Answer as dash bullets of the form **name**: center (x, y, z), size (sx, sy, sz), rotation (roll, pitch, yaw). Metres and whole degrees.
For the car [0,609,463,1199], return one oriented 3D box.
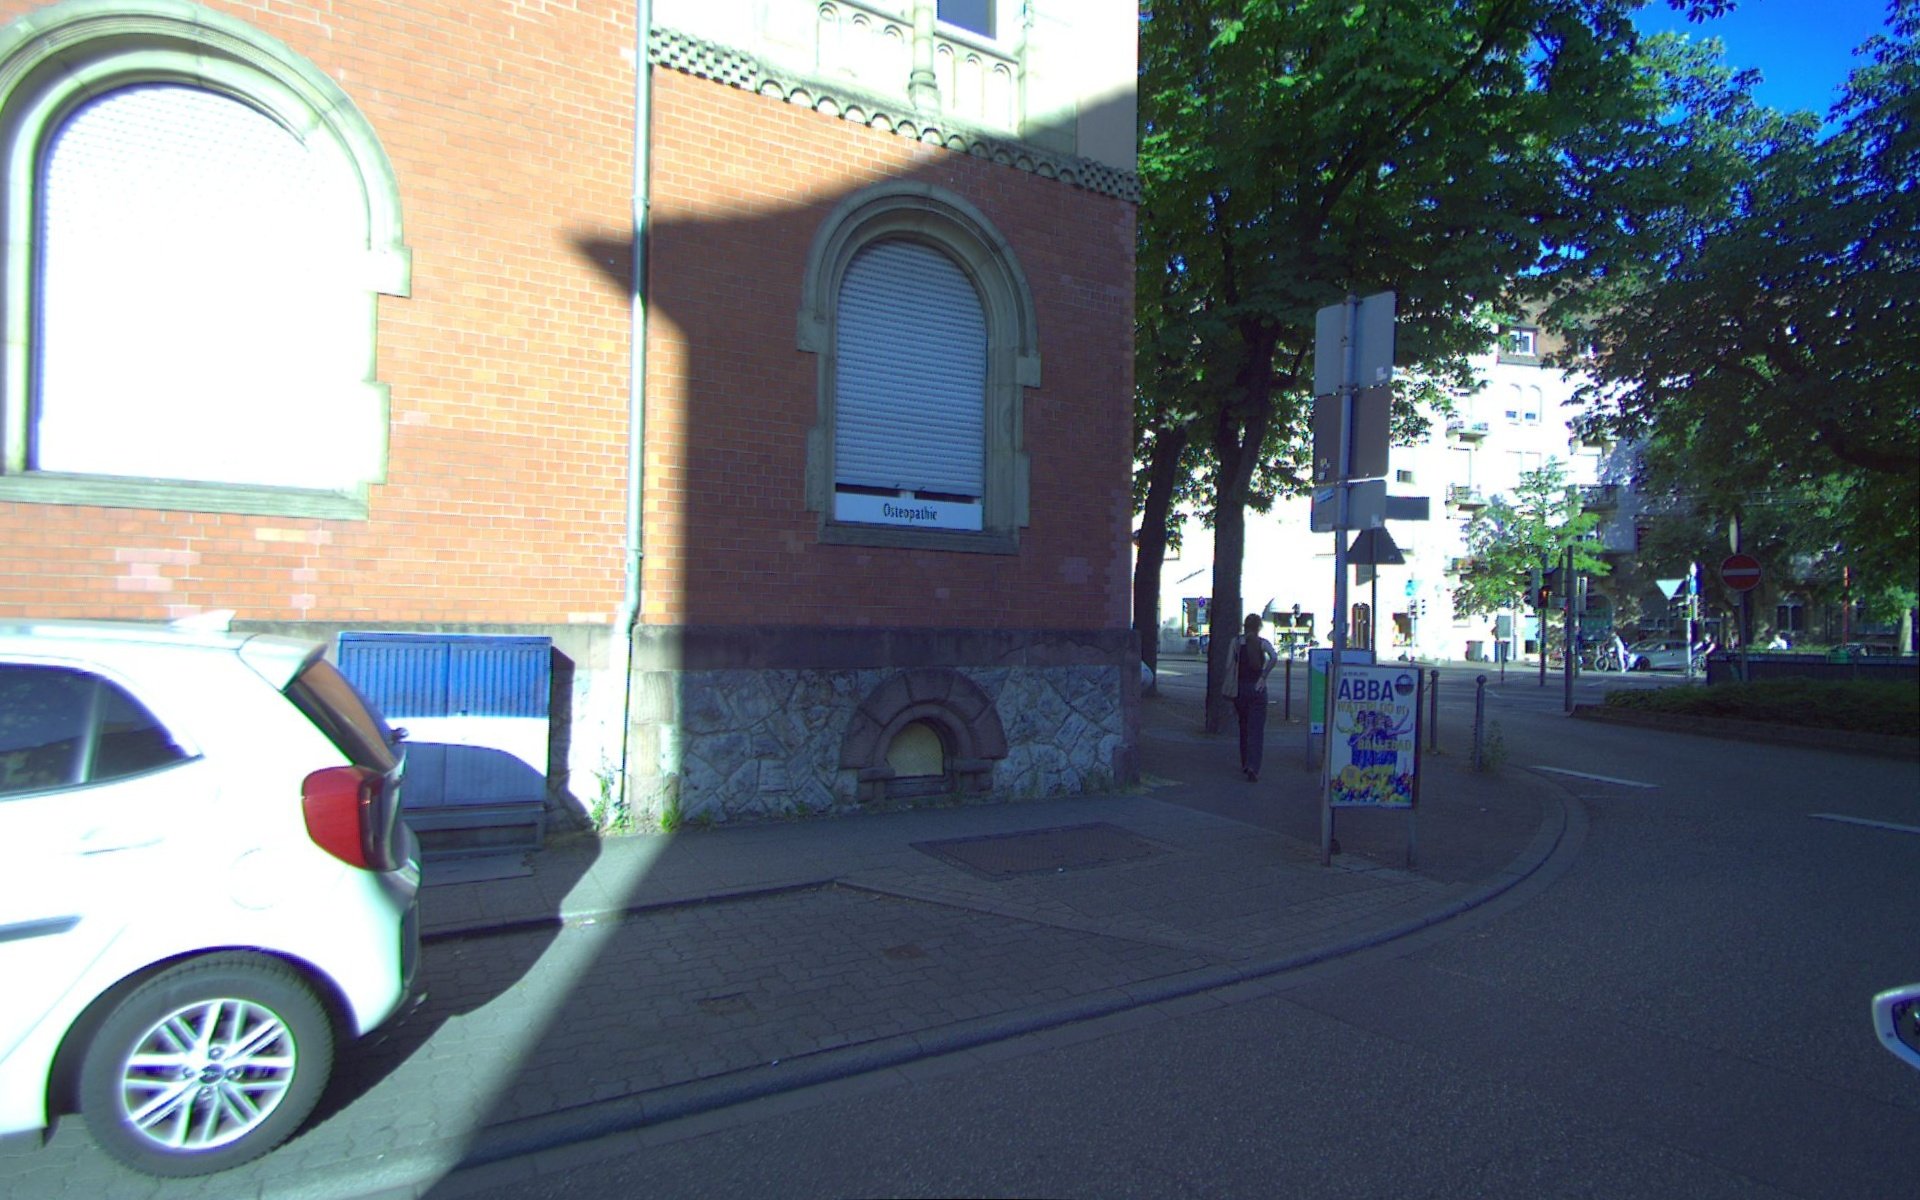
- **car**: center (-3.511, 0.790, 2.757), size (3.752, 1.505, 1.697), rotation (1, 0, -30)

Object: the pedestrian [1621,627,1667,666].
- **pedestrian**: center (34.591, 2.355, 50.803), size (1.464, 1.937, 1.261), rotation (0, -2, 2)

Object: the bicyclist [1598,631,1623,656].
- **bicyclist**: center (27.844, 1.859, 42.969), size (0.664, 1.068, 0.612), rotation (0, -1, -2)

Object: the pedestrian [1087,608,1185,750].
- **pedestrian**: center (2.160, 0.938, 12.332), size (0.854, 1.665, 0.859), rotation (2, -2, -42)

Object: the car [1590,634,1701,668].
- **car**: center (30.251, 2.236, 44.392), size (3.635, 1.458, 1.900), rotation (0, -1, -4)

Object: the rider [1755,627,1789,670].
- **rider**: center (33.088, 1.971, 40.915), size (0.660, 1.704, 0.818), rotation (1, 0, -19)

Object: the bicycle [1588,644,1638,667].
- **bicycle**: center (27.929, 2.383, 42.967), size (1.708, 0.958, 0.654), rotation (0, -1, -2)

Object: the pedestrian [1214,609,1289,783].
- **pedestrian**: center (2.887, 0.913, 9.907), size (0.590, 1.626, 0.854), rotation (0, -2, 25)
